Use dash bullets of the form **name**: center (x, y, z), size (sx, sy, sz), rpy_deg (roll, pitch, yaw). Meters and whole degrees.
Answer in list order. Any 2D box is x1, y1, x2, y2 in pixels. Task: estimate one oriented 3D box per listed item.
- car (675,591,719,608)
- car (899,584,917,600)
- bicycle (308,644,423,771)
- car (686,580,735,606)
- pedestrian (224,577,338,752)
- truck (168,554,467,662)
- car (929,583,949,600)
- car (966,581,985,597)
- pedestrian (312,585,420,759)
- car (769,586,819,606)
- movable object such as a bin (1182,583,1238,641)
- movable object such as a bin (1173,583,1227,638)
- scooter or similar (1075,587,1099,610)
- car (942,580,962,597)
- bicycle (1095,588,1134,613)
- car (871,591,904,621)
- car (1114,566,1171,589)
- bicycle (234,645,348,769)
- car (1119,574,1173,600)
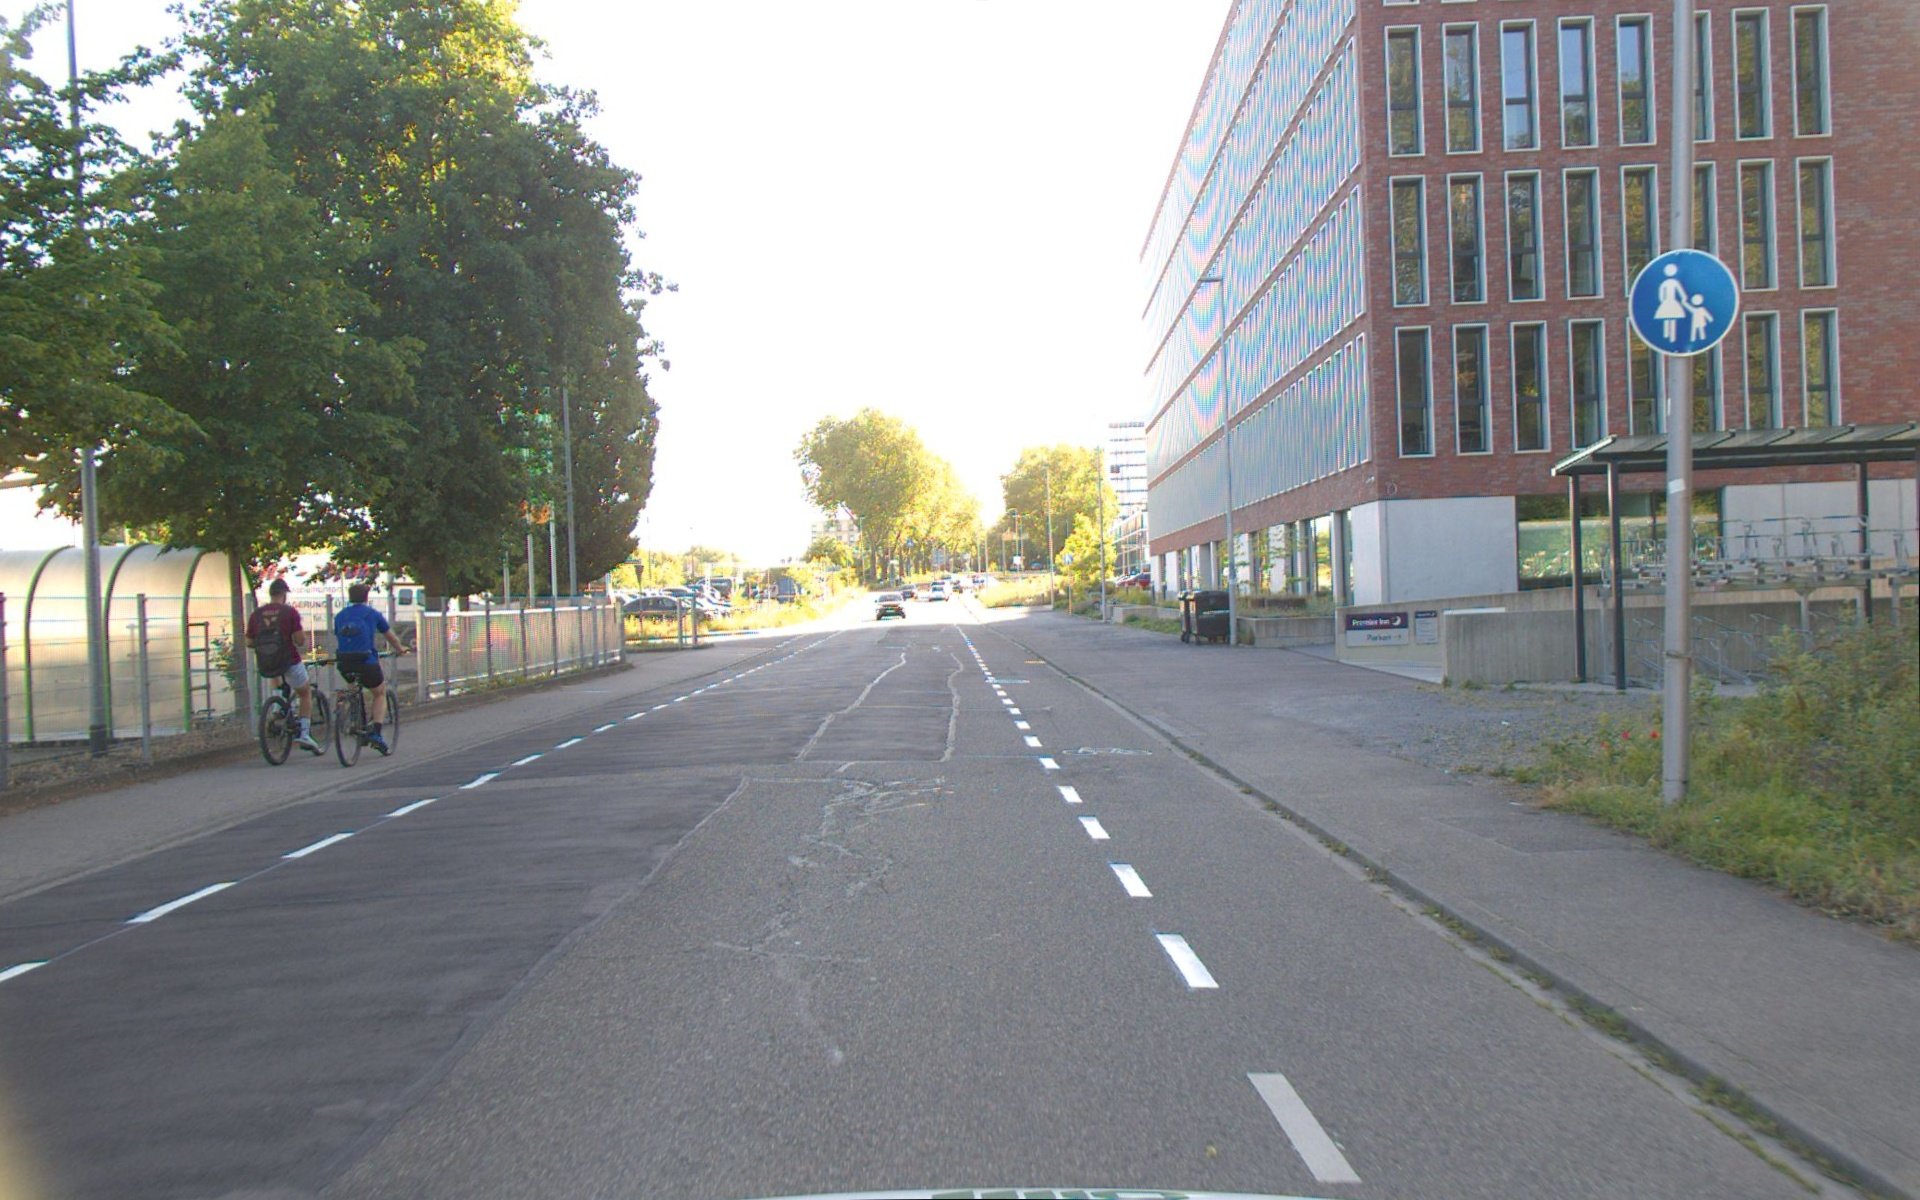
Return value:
- **car**: center (-26.926, -0.090, 169.553), size (4.234, 1.646, 1.878), rpy_deg (-1, 1, -2)
- **car**: center (-5.162, -0.790, 165.006), size (1.620, 1.529, 3.999), rpy_deg (-3, 0, -1)
- **bicycle**: center (-6.189, 1.079, 17.321), size (0.437, 1.168, 2.200), rpy_deg (0, 0, -1)
- **car**: center (-26.678, -0.750, 177.168), size (4.827, 2.502, 2.319), rpy_deg (-2, 0, -2)
- **pedestrian**: center (-7.079, 0.652, 17.286), size (0.706, 1.750, 1.057), rpy_deg (-2, 0, -1)
- **truck**: center (-23.693, 0.293, 61.350), size (9.895, 3.678, 2.775), rpy_deg (-1, -1, -2)
- **car**: center (-1.923, -0.781, 151.897), size (1.753, 1.445, 4.000), rpy_deg (-1, 1, 0)
- **car**: center (1.748, -1.277, 186.926), size (2.119, 1.713, 4.000), rpy_deg (-2, 0, 0)
- **pedestrian**: center (-6.222, 0.728, 17.375), size (0.706, 1.750, 1.057), rpy_deg (-2, 0, -1)
- **car**: center (-16.456, -0.440, 164.008), size (4.747, 1.867, 1.999), rpy_deg (-1, 1, -2)
- **movable object such as a bin**: center (6.235, 0.293, 41.274), size (1.106, 1.395, 1.345), rpy_deg (-2, 0, -2)
- **movable object such as a bin**: center (6.207, 0.267, 42.854), size (1.106, 1.359, 1.345), rpy_deg (-2, 0, -2)
- **scooter or similar**: center (7.324, -0.067, 95.336), size (1.312, 1.267, 0.424), rpy_deg (-2, 0, 3)
- **car**: center (-0.843, -1.262, 181.425), size (2.119, 1.713, 4.000), rpy_deg (-2, 0, 0)
- **bicycle**: center (7.825, 0.009, 83.636), size (1.895, 1.190, 0.375), rpy_deg (-2, 0, -7)
- **car**: center (-4.220, 0.354, 97.169), size (1.706, 1.552, 4.111), rpy_deg (-6, 1, -1)
- **car**: center (13.746, -1.704, 124.551), size (4.097, 1.608, 1.852), rpy_deg (-1, 1, 2)
- **bicycle**: center (-7.020, 1.093, 17.433), size (0.460, 1.168, 1.869), rpy_deg (0, 0, -1)
- **car**: center (14.785, -1.006, 131.521), size (4.097, 1.608, 1.852), rpy_deg (-3, -8, 2)
